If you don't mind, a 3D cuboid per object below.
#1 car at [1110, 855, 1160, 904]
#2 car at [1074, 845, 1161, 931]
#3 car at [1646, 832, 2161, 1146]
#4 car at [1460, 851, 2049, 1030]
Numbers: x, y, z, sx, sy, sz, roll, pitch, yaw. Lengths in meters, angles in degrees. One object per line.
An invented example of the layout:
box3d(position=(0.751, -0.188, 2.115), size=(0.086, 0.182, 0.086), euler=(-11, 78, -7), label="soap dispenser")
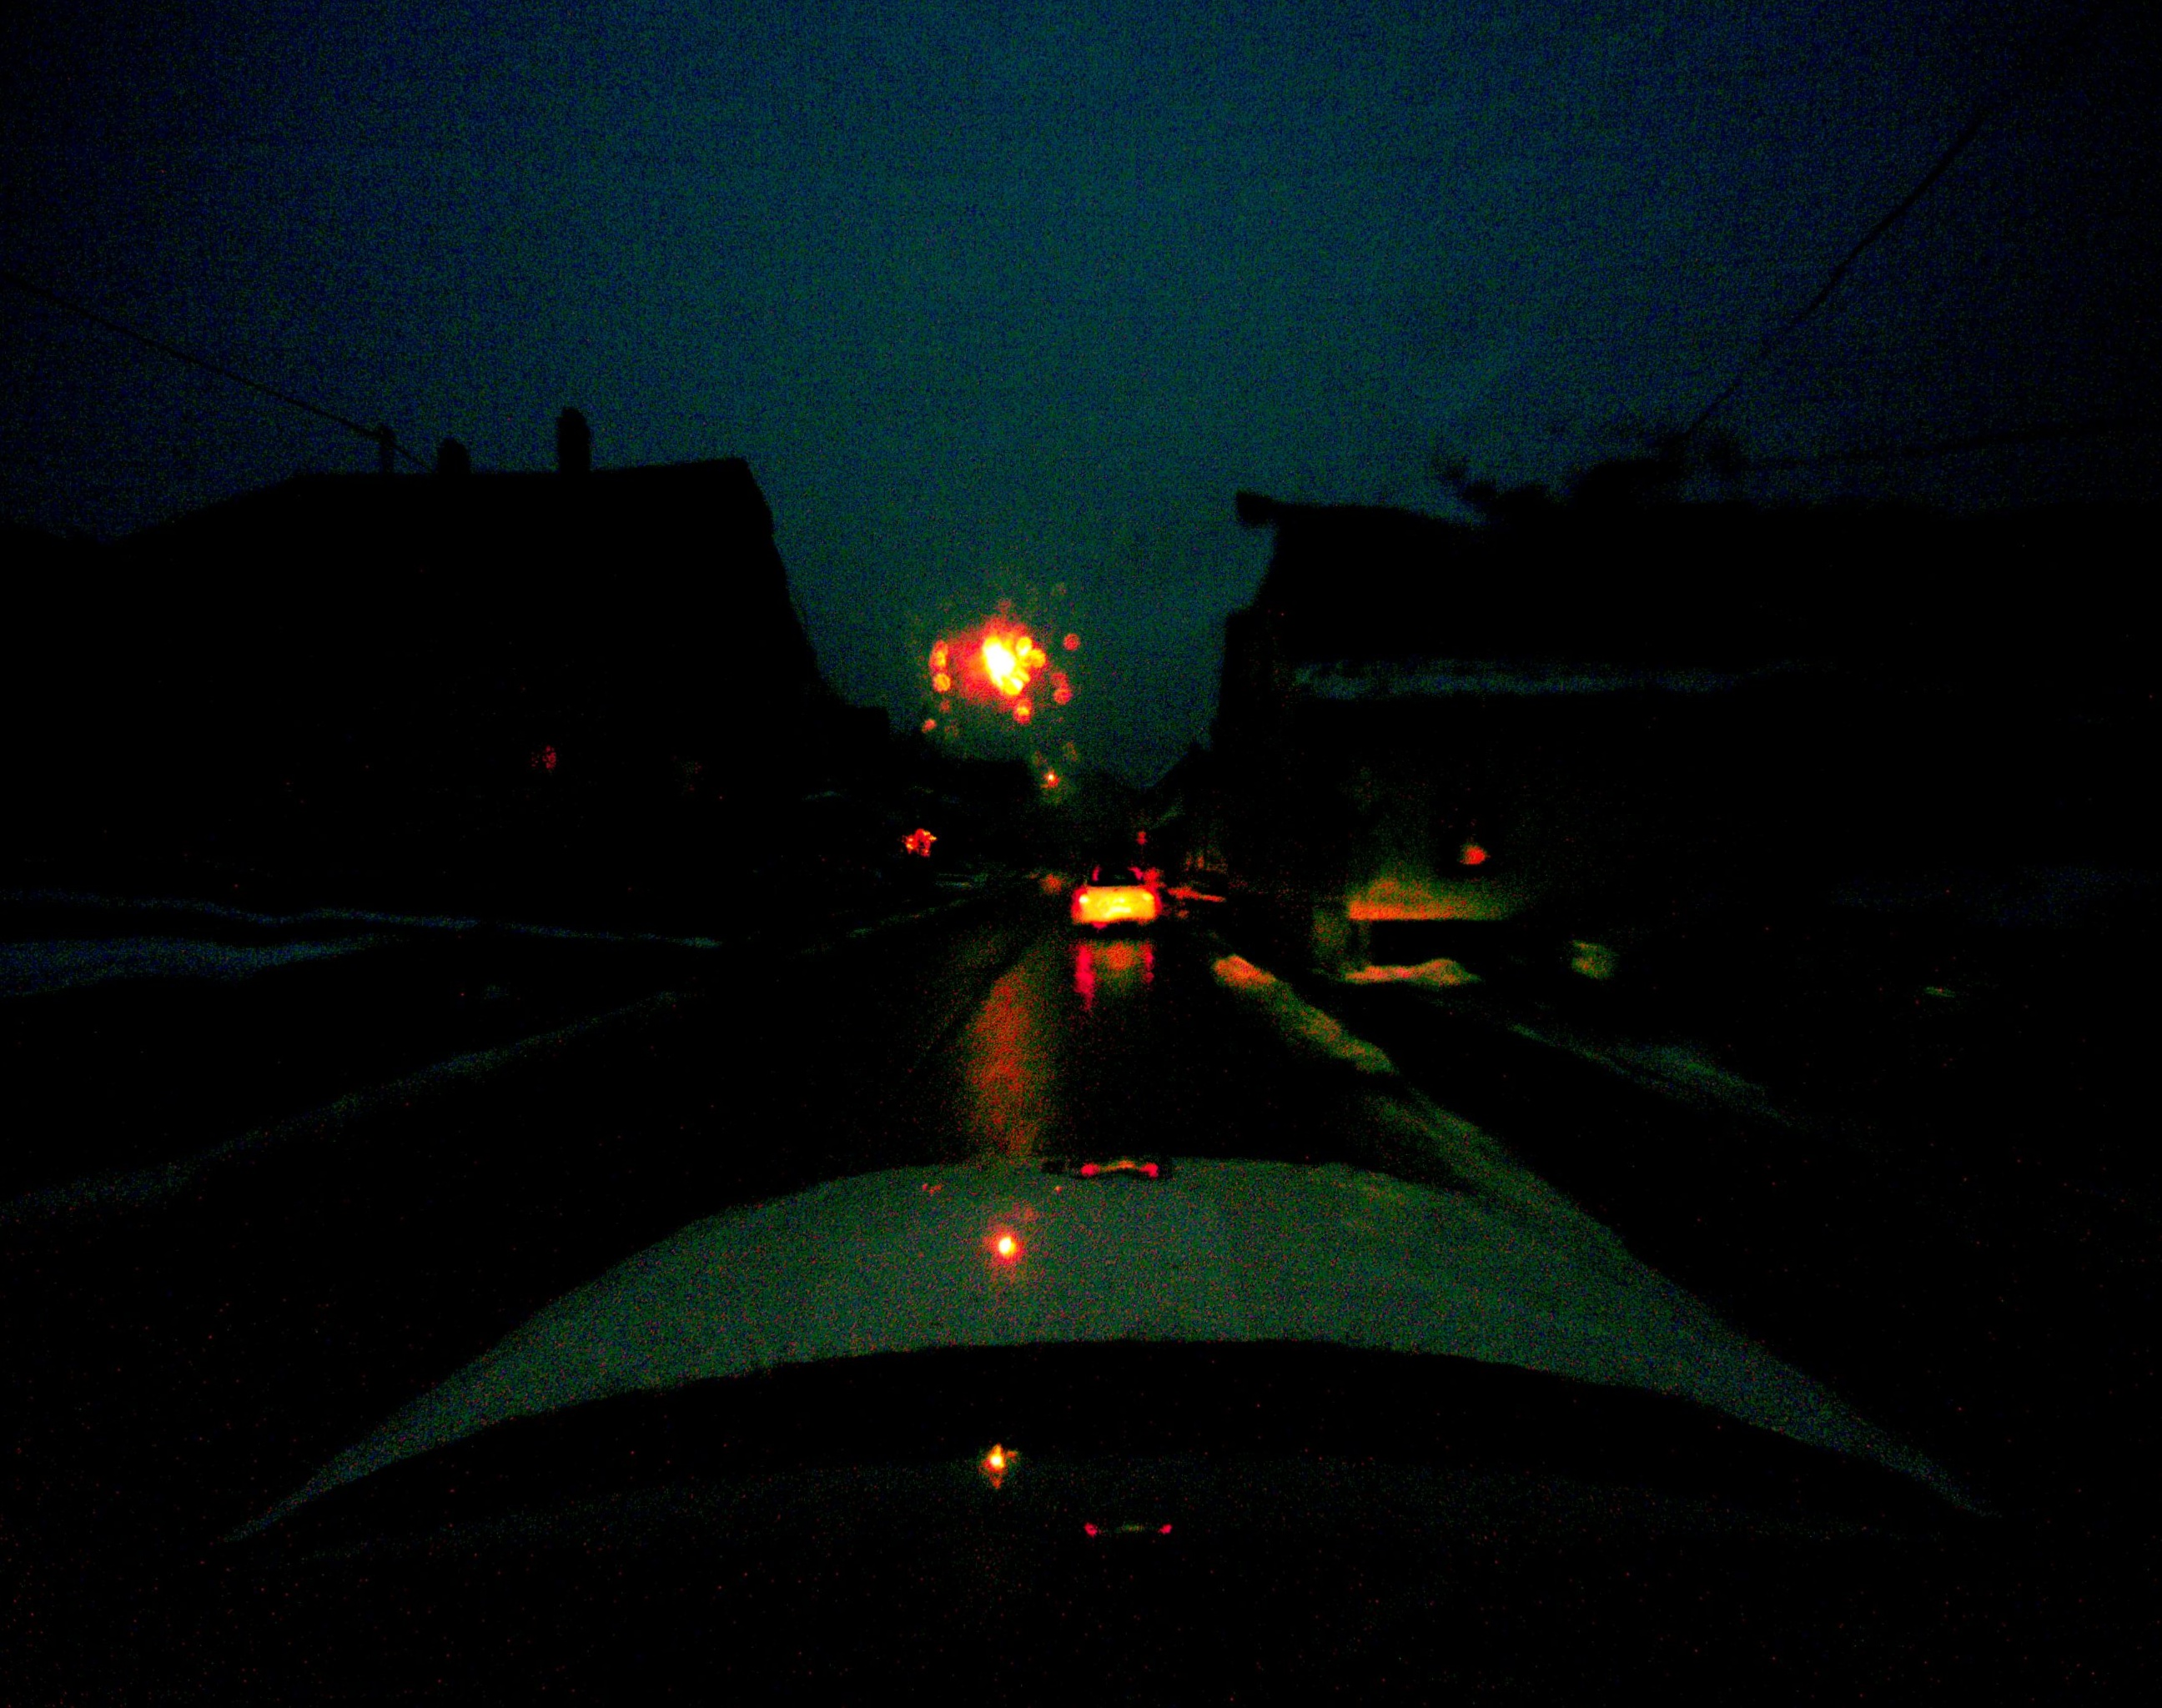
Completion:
box3d(position=(1.908, 0.878, 28.924), size=(1.638, 1.596, 3.702), euler=(2, -1, 3), label="car")
box3d(position=(0.834, 0.685, 17.517), size=(1.638, 1.596, 3.703), euler=(2, -1, 4), label="car")
box3d(position=(5.869, 0.637, 4.920), size=(3.733, 1.497, 1.819), euler=(0, 0, -4), label="car")
box3d(position=(6.147, 0.734, 7.809), size=(4.159, 1.433, 1.900), euler=(1, 0, -3), label="car")
